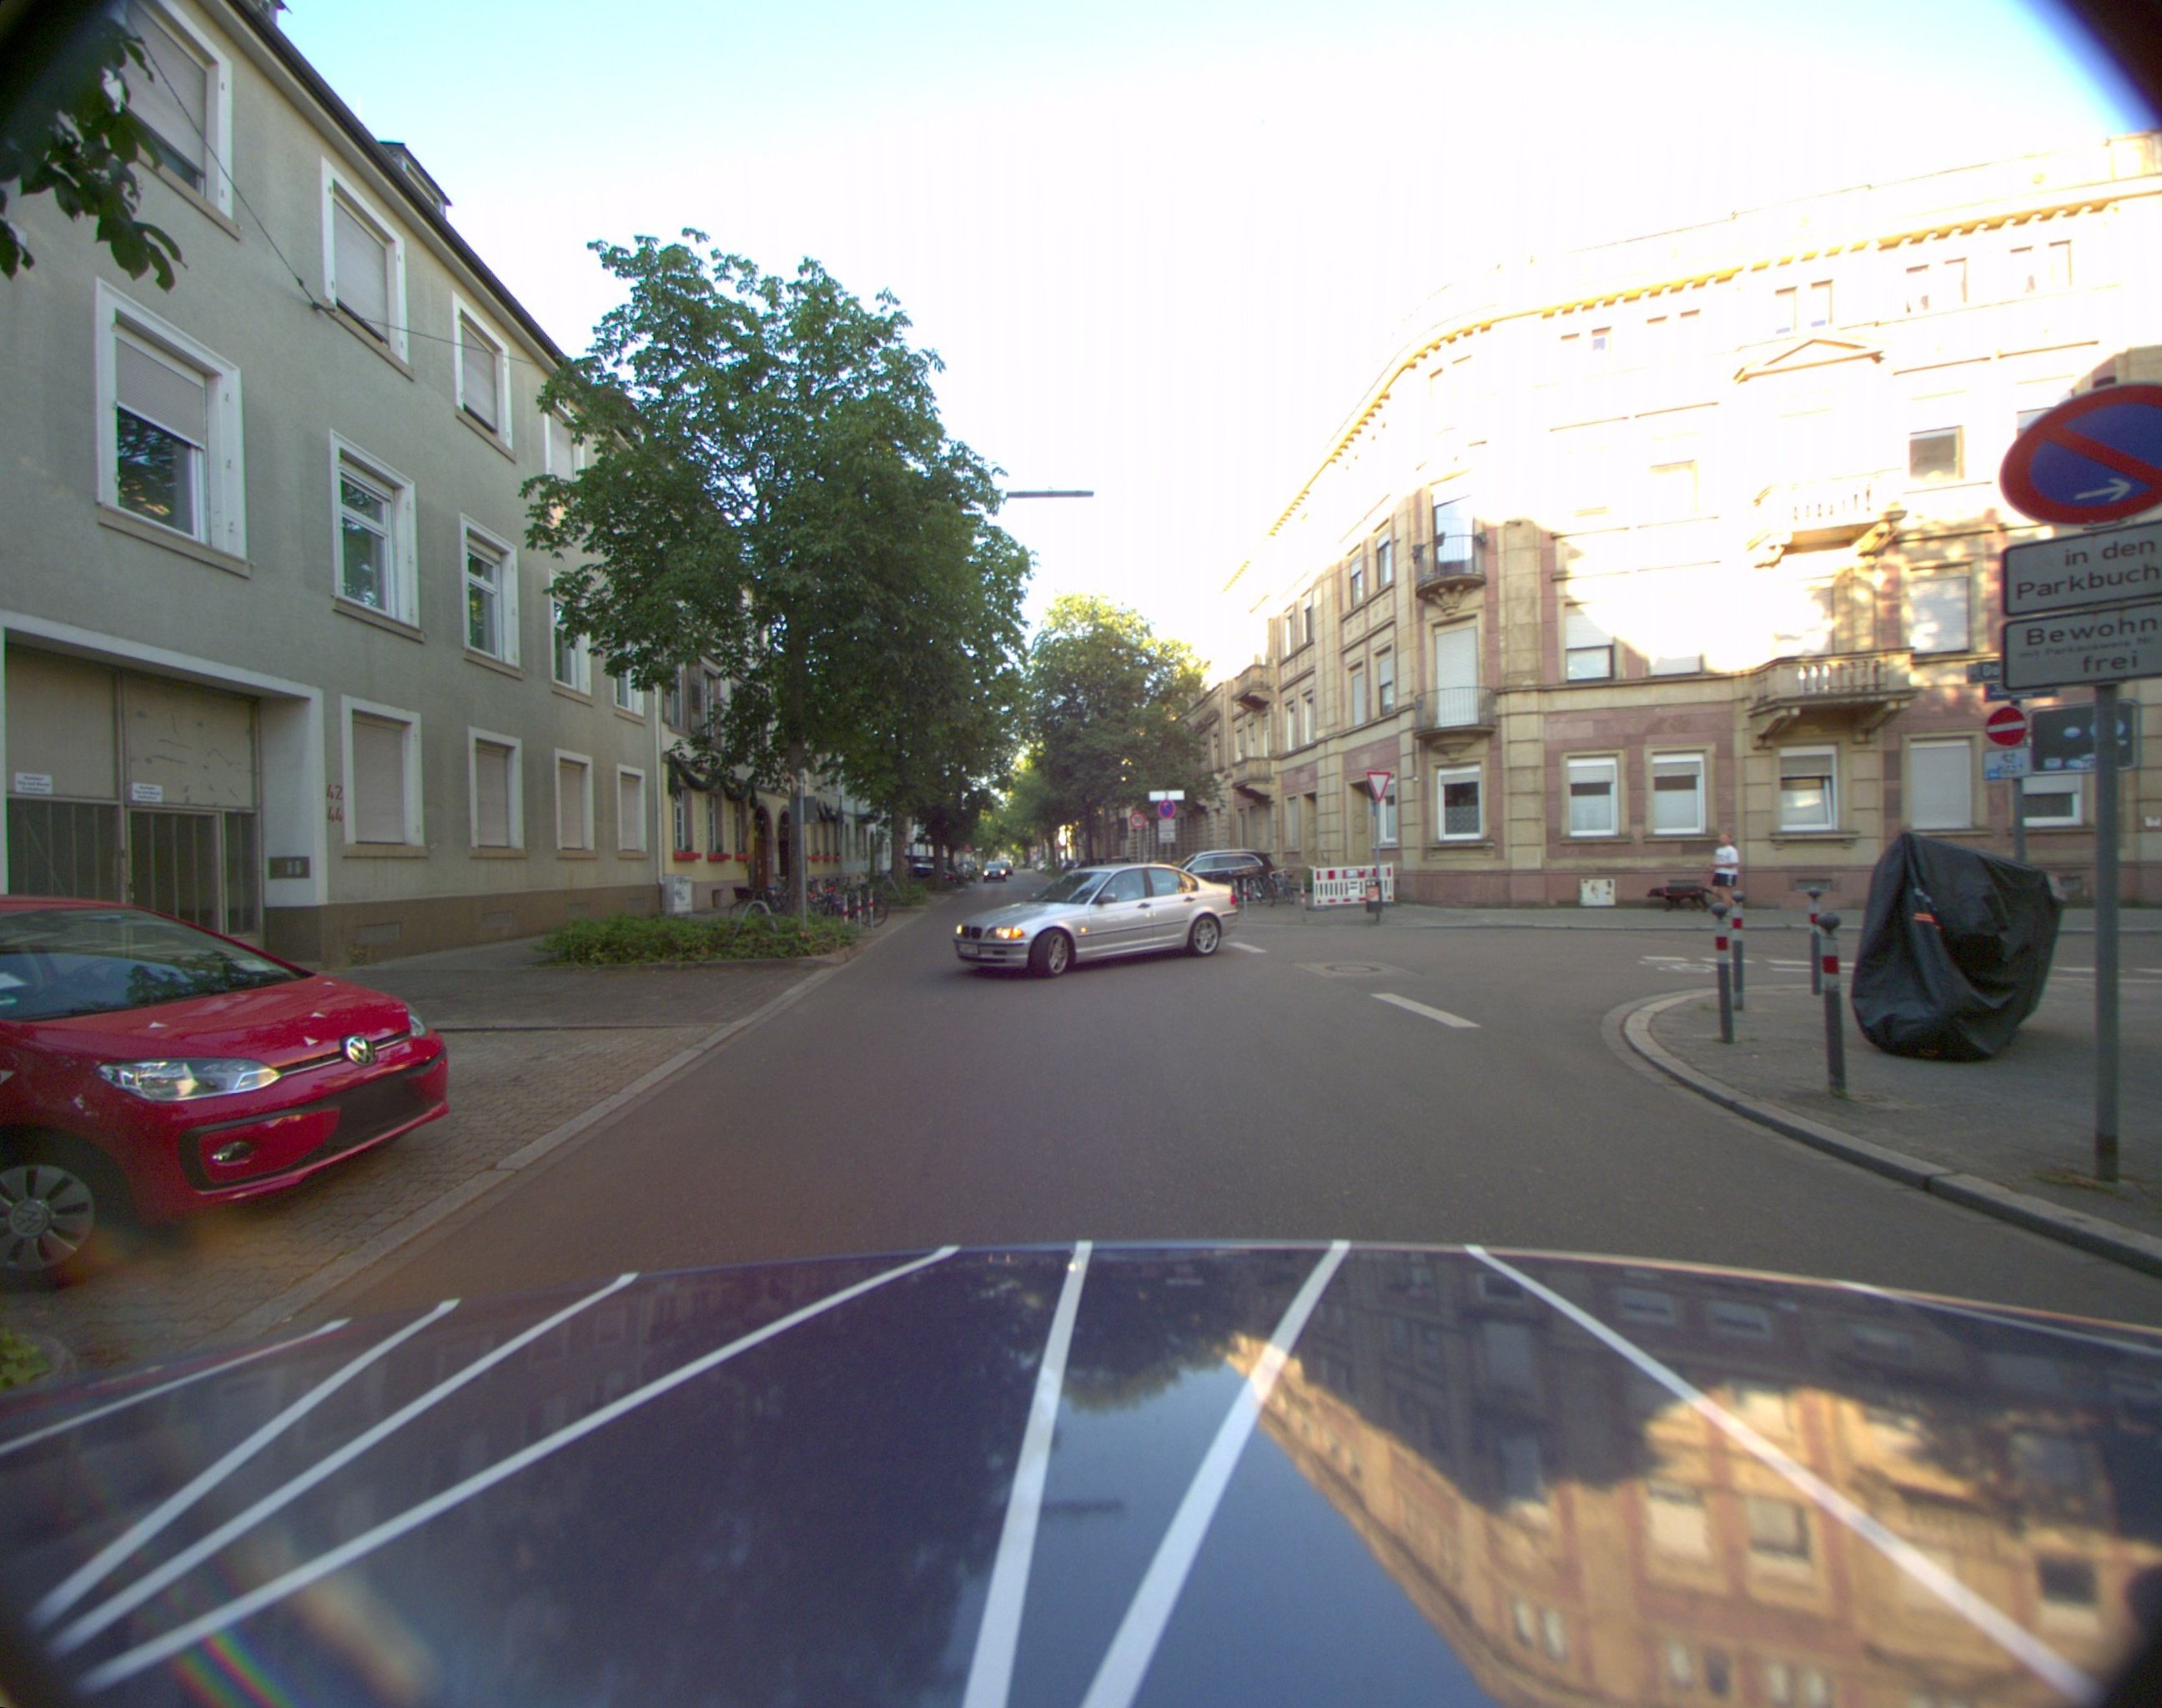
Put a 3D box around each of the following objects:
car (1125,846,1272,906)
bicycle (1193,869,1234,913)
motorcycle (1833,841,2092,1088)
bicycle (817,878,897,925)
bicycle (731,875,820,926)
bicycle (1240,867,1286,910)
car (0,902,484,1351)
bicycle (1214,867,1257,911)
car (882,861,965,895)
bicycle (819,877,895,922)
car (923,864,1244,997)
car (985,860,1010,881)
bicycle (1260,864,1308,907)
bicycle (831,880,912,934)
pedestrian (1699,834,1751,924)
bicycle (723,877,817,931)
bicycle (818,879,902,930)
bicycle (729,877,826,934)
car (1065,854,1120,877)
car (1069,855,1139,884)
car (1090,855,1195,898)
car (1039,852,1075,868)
[{"bbox_3d":[3.723,0.681,24.566,4.422,1.771,1.742,-1,0,-1],"label":"car"},{"bbox_3d":[3.742,1.024,21.587,0.562,1.144,2.038,-1,0,-6],"label":"bicycle"},{"bbox_3d":[6.493,0.670,5.564,2.286,1.496,0.816,-1,1,-30],"label":"motorcycle"},{"bbox_3d":[-6.129,1.289,20.847,2.029,1.220,0.535,-1,0,-11],"label":"bicycle"},{"bbox_3d":[-7.817,1.185,19.526,2.029,1.220,0.535,-1,0,-13],"label":"bicycle"},{"bbox_3d":[5.174,0.956,21.697,0.562,1.144,2.038,-1,0,-8],"label":"bicycle"},{"bbox_3d":[-5.167,1.041,3.338,3.621,1.468,1.663,-1,0,-7],"label":"car"},{"bbox_3d":[4.381,0.979,21.655,0.562,1.144,2.038,-1,0,-6],"label":"bicycle"},{"bbox_3d":[-8.554,1.285,41.598,4.245,1.729,1.741,-1,0,-6],"label":"car"},{"bbox_3d":[-6.370,1.289,21.718,2.029,1.220,0.535,-1,0,-11],"label":"bicycle"},{"bbox_3d":[0.184,0.918,10.849,4.444,1.433,1.708,-1,0,-38],"label":"car"},{"bbox_3d":[-6.746,1.297,61.540,1.806,1.543,3.998,-1,0,-4],"label":"car"},{"bbox_3d":[5.792,0.876,21.746,0.562,1.144,2.038,-1,0,-8],"label":"bicycle"},{"bbox_3d":[-5.039,1.258,18.326,1.849,1.220,0.535,-1,0,-16],"label":"bicycle"},{"bbox_3d":[13.158,0.496,15.543,0.650,1.797,0.574,0,1,18],"label":"pedestrian"},{"bbox_3d":[-7.496,1.185,18.380,2.030,1.220,0.535,-1,0,-16],"label":"bicycle"},{"bbox_3d":[-5.663,1.285,19.566,2.029,1.220,0.535,-1,0,-11],"label":"bicycle"},{"bbox_3d":[-7.036,1.174,17.677,2.030,1.220,0.535,-1,0,-16],"label":"bicycle"},{"bbox_3d":[0.865,0.877,60.779,4.245,1.749,1.741,-1,0,-4],"label":"car"},{"bbox_3d":[1.410,0.964,48.308,4.245,1.749,1.741,-1,0,-4],"label":"car"},{"bbox_3d":[2.530,0.926,32.015,4.243,1.668,1.742,-1,0,-1],"label":"car"},{"bbox_3d":[-2.948,0.726,92.466,4.245,1.749,1.741,-1,0,-4],"label":"car"}]
